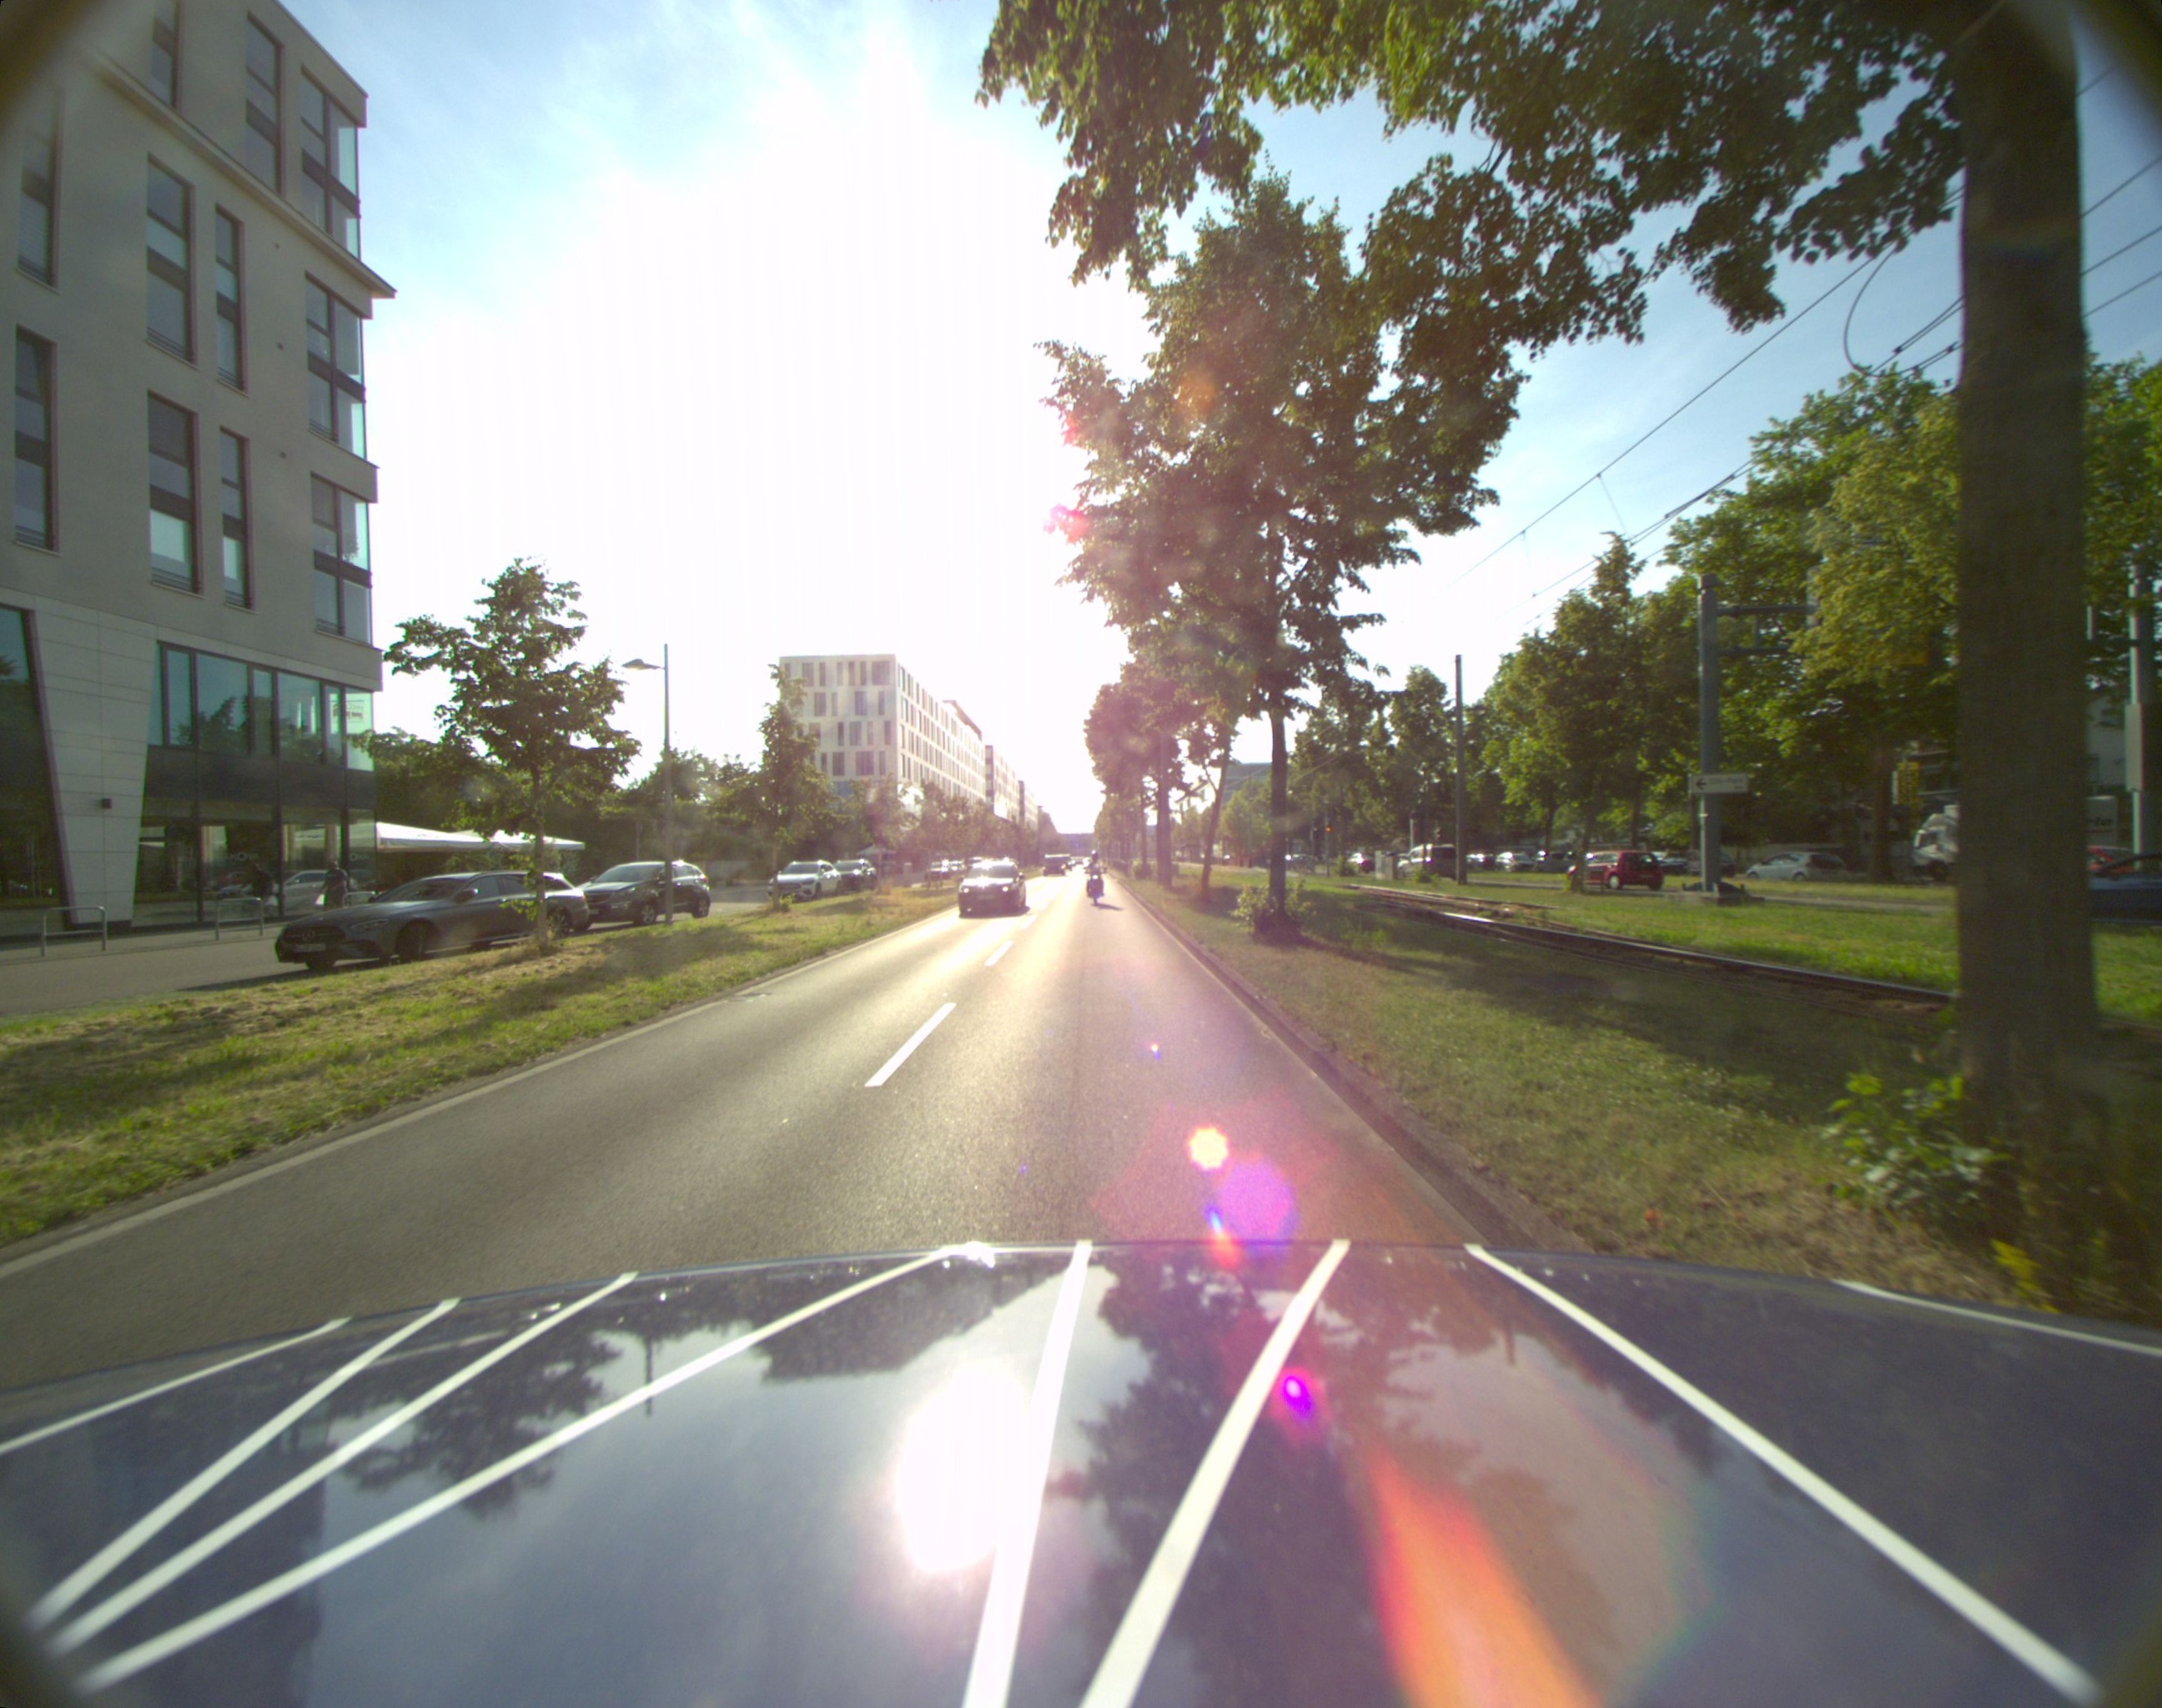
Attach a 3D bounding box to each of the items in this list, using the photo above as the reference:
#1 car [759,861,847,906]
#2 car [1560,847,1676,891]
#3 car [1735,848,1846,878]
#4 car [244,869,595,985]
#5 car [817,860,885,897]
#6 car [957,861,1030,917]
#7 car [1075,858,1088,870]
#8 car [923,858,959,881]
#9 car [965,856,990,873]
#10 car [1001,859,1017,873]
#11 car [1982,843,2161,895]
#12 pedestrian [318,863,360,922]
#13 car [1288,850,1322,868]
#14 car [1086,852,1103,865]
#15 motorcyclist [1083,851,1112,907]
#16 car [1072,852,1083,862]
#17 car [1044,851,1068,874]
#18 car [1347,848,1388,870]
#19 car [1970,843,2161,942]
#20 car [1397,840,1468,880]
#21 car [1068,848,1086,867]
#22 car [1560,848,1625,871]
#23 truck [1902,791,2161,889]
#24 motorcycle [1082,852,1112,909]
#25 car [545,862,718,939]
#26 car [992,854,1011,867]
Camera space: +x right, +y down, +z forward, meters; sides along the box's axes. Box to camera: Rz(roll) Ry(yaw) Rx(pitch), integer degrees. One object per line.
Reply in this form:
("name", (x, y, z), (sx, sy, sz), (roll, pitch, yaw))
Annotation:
("car", (-11.043, 1.130, 30.576), (1.840, 1.521, 4.327), (-3, 1, 1))
("car", (20.530, 0.537, 29.264), (1.686, 1.515, 3.929), (-2, 1, 0))
("car", (30.016, 0.340, 32.287), (1.301, 1.101, 3.772), (-3, 1, 3))
("car", (-11.457, 1.142, 13.796), (1.764, 1.479, 4.920), (-3, 1, 4))
("car", (-10.975, 1.126, 36.546), (1.840, 1.521, 4.327), (-3, 1, 1))
("car", (-2.615, 1.028, 23.669), (1.698, 1.416, 4.039), (-3, 1, 1))
("car", (0.093, 1.592, 120.364), (1.740, 1.777, 3.893), (-3, 1, 1))
("car", (-10.667, 1.145, 58.263), (1.840, 1.521, 4.327), (-3, 1, 1))
("car", (-10.424, 1.068, 76.875), (1.840, 1.521, 4.327), (-3, 1, 1))
("car", (-9.881, 1.673, 104.603), (1.740, 1.777, 3.893), (-3, 1, 1))
("car", (28.903, 0.363, 21.845), (1.586, 1.269, 3.961), (-3, 1, 7))
("pedestrian", (-20.717, 1.074, 21.223), (0.499, 1.591, 0.572), (-3, 1, 0))
("car", (18.443, 0.399, 62.725), (1.685, 1.364, 3.957), (-3, 1, 1))
("car", (1.662, 0.549, 91.678), (1.756, 1.427, 4.034), (-3, 1, -2))
("motorcyclist", (0.516, 0.771, 24.144), (0.814, 1.700, 0.843), (-3, 1, 0))
("car", (-0.659, 0.548, 142.917), (1.740, 1.777, 3.893), (-3, 1, 1))
("car", (-2.210, 0.753, 68.484), (1.803, 1.880, 4.820), (-3, 1, 1))
("car", (20.924, 0.369, 55.626), (1.685, 1.439, 3.958), (-3, 1, 3))
("car", (17.281, 0.583, 11.722), (1.686, 1.427, 4.670), (-3, 1, 1))
("car", (18.013, 0.266, 39.165), (1.686, 1.853, 4.218), (-3, 1, 1))
("car", (-0.409, 0.377, 88.484), (1.909, 2.002, 4.000), (-3, 1, 1))
("car", (31.313, 0.326, 46.633), (1.456, 1.275, 3.783), (-3, 1, 1))
("truck", (39.780, -0.595, 31.711), (2.895, 3.496, 7.946), (-3, 1, 5))
("motorcycle", (0.471, 0.789, 24.106), (0.798, 1.659, 2.634), (-3, 1, 0))
("car", (-11.307, 1.086, 19.540), (1.764, 1.588, 4.327), (-3, 1, 1))
("car", (-10.100, 0.771, 96.692), (1.840, 1.521, 4.327), (-3, 1, 1))
